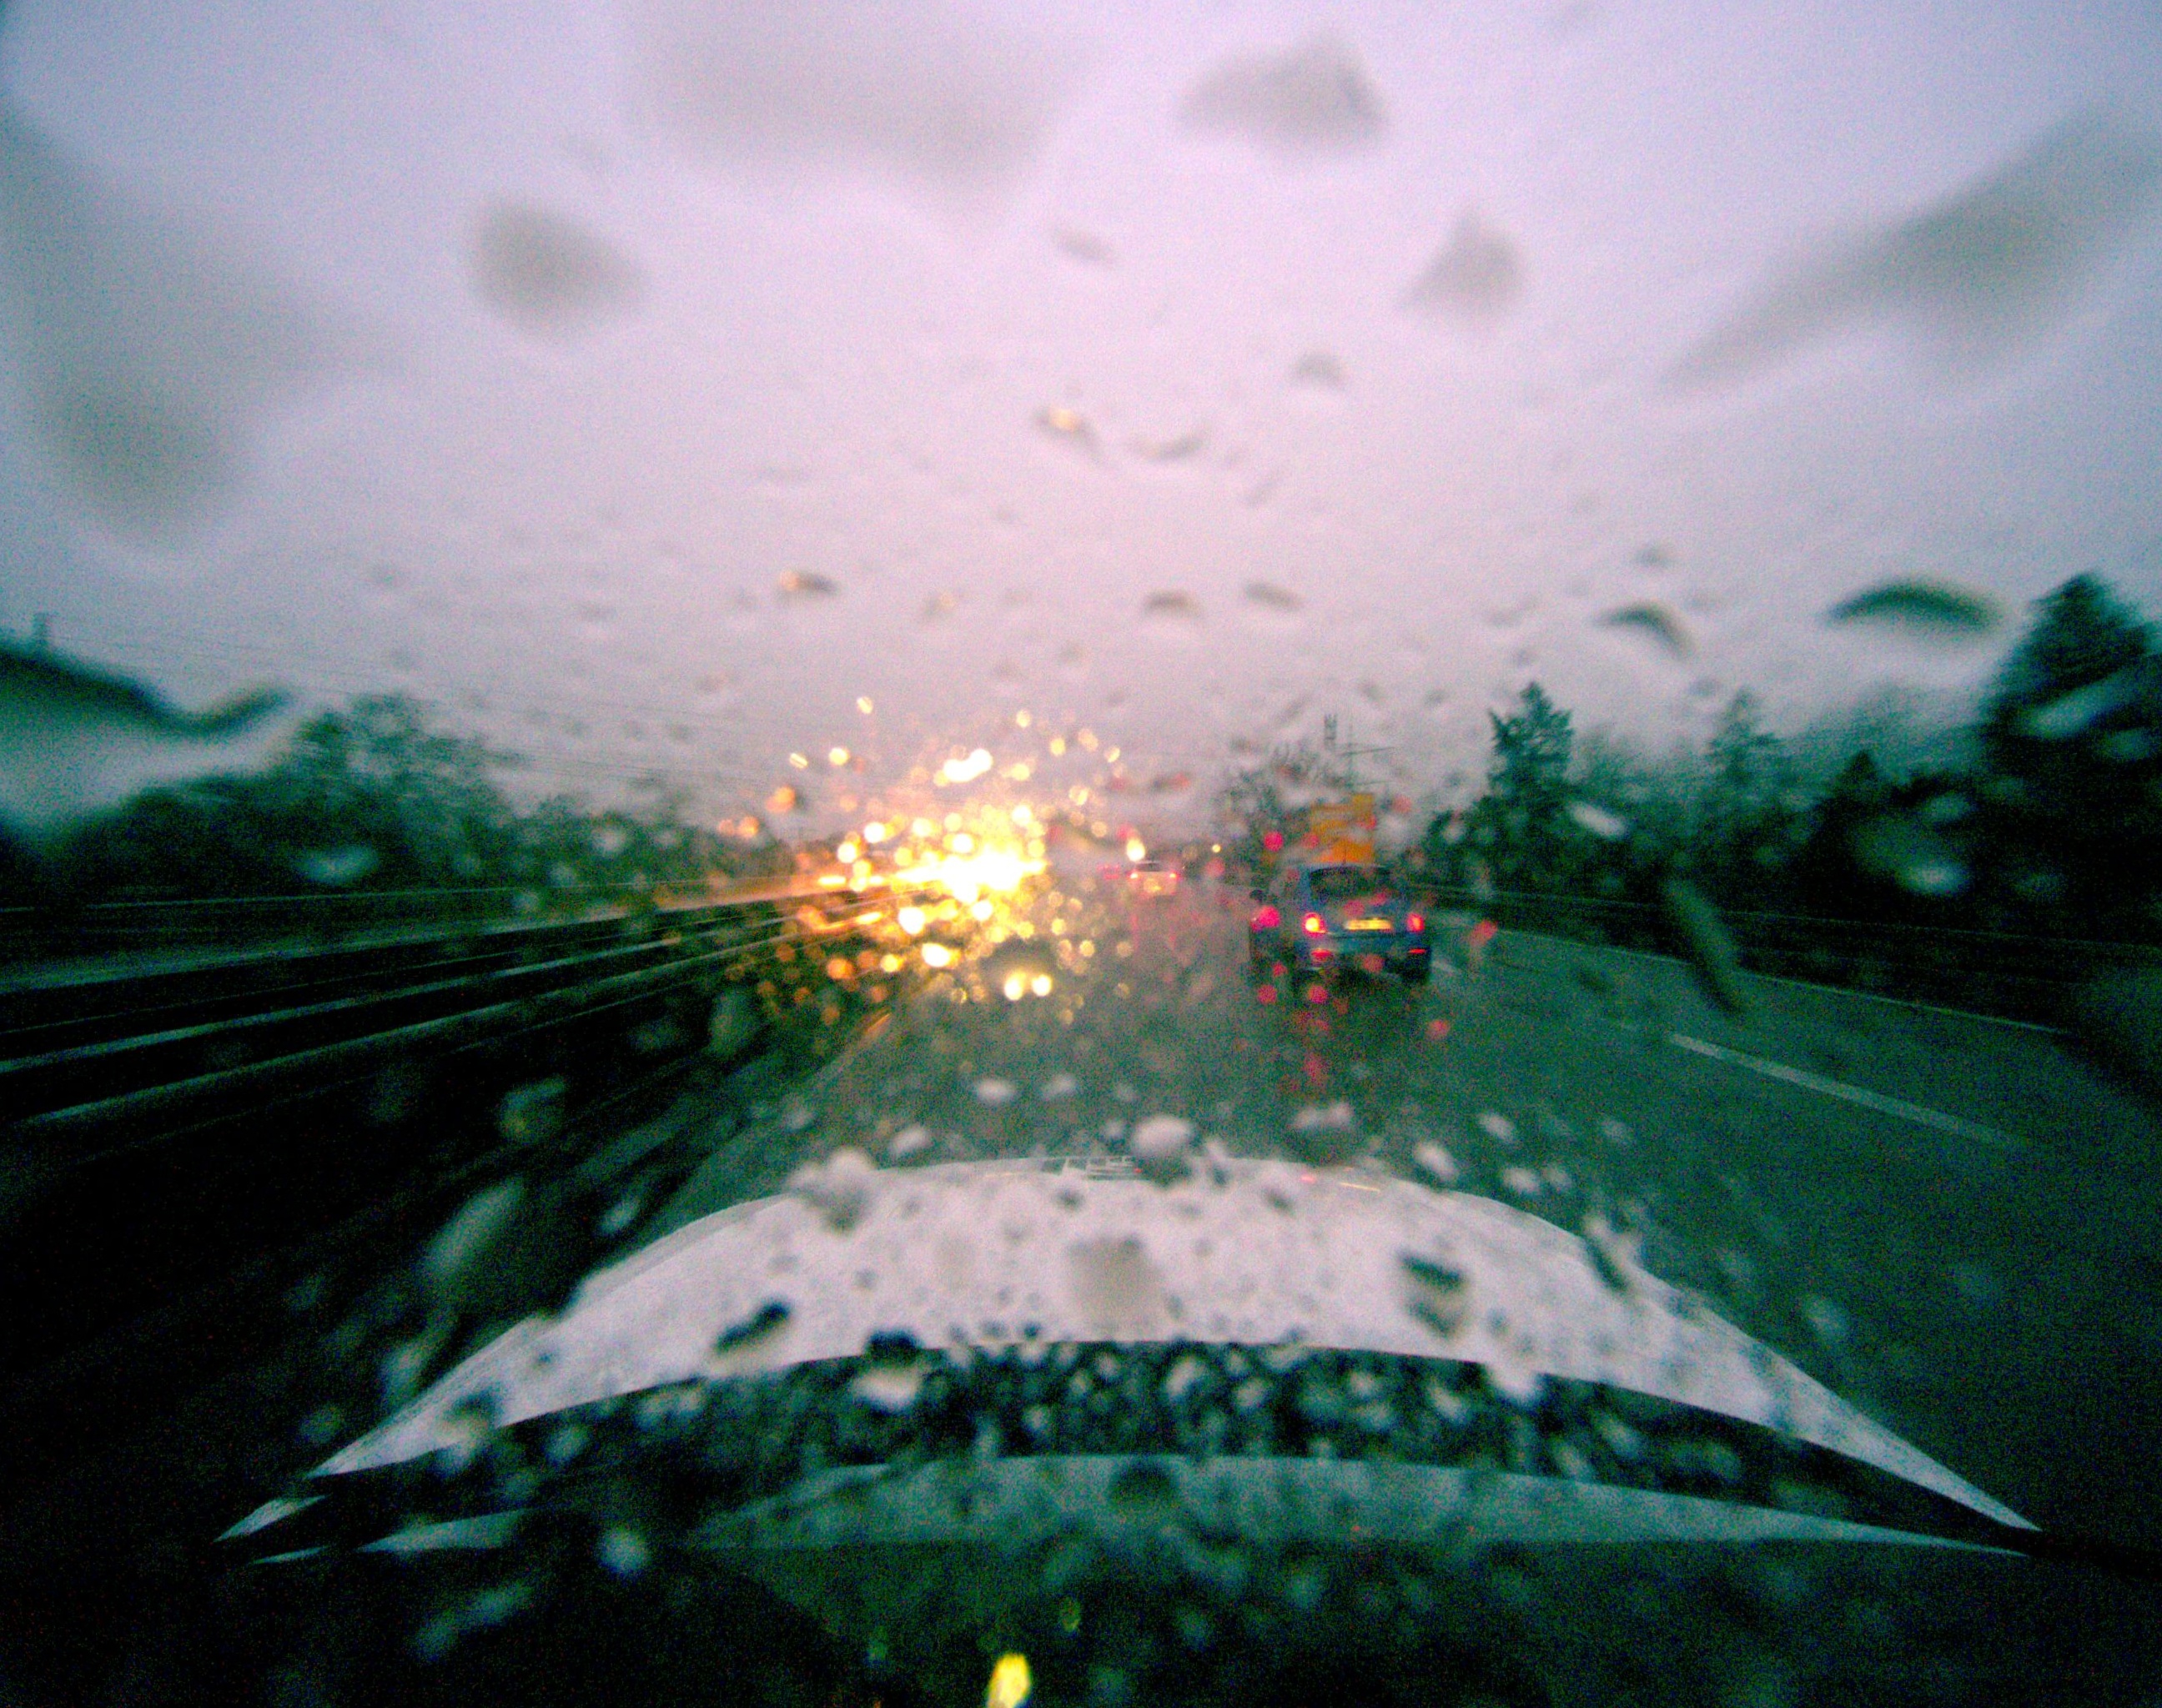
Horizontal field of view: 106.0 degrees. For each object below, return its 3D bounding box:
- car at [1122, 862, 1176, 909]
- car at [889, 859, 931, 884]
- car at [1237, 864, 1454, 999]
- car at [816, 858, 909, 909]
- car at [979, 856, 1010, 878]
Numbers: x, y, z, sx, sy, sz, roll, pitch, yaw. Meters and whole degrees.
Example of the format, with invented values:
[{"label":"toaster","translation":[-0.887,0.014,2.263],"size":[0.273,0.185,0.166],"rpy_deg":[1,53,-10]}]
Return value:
[{"label":"car","translation":[2.516,1.131,30.742],"size":[1.838,1.636,3.769],"rpy_deg":[0,-1,2]},{"label":"car","translation":[-11.643,1.161,55.784],"size":[1.978,1.551,4.390],"rpy_deg":[-1,1,-1]},{"label":"car","translation":[3.489,0.929,11.589],"size":[1.839,1.453,4.150],"rpy_deg":[-1,1,2]},{"label":"car","translation":[-7.538,0.961,28.497],"size":[1.986,1.551,4.139],"rpy_deg":[-1,1,2]},{"label":"car","translation":[-6.719,1.008,63.650],"size":[1.810,1.551,4.470],"rpy_deg":[-1,1,2]}]
